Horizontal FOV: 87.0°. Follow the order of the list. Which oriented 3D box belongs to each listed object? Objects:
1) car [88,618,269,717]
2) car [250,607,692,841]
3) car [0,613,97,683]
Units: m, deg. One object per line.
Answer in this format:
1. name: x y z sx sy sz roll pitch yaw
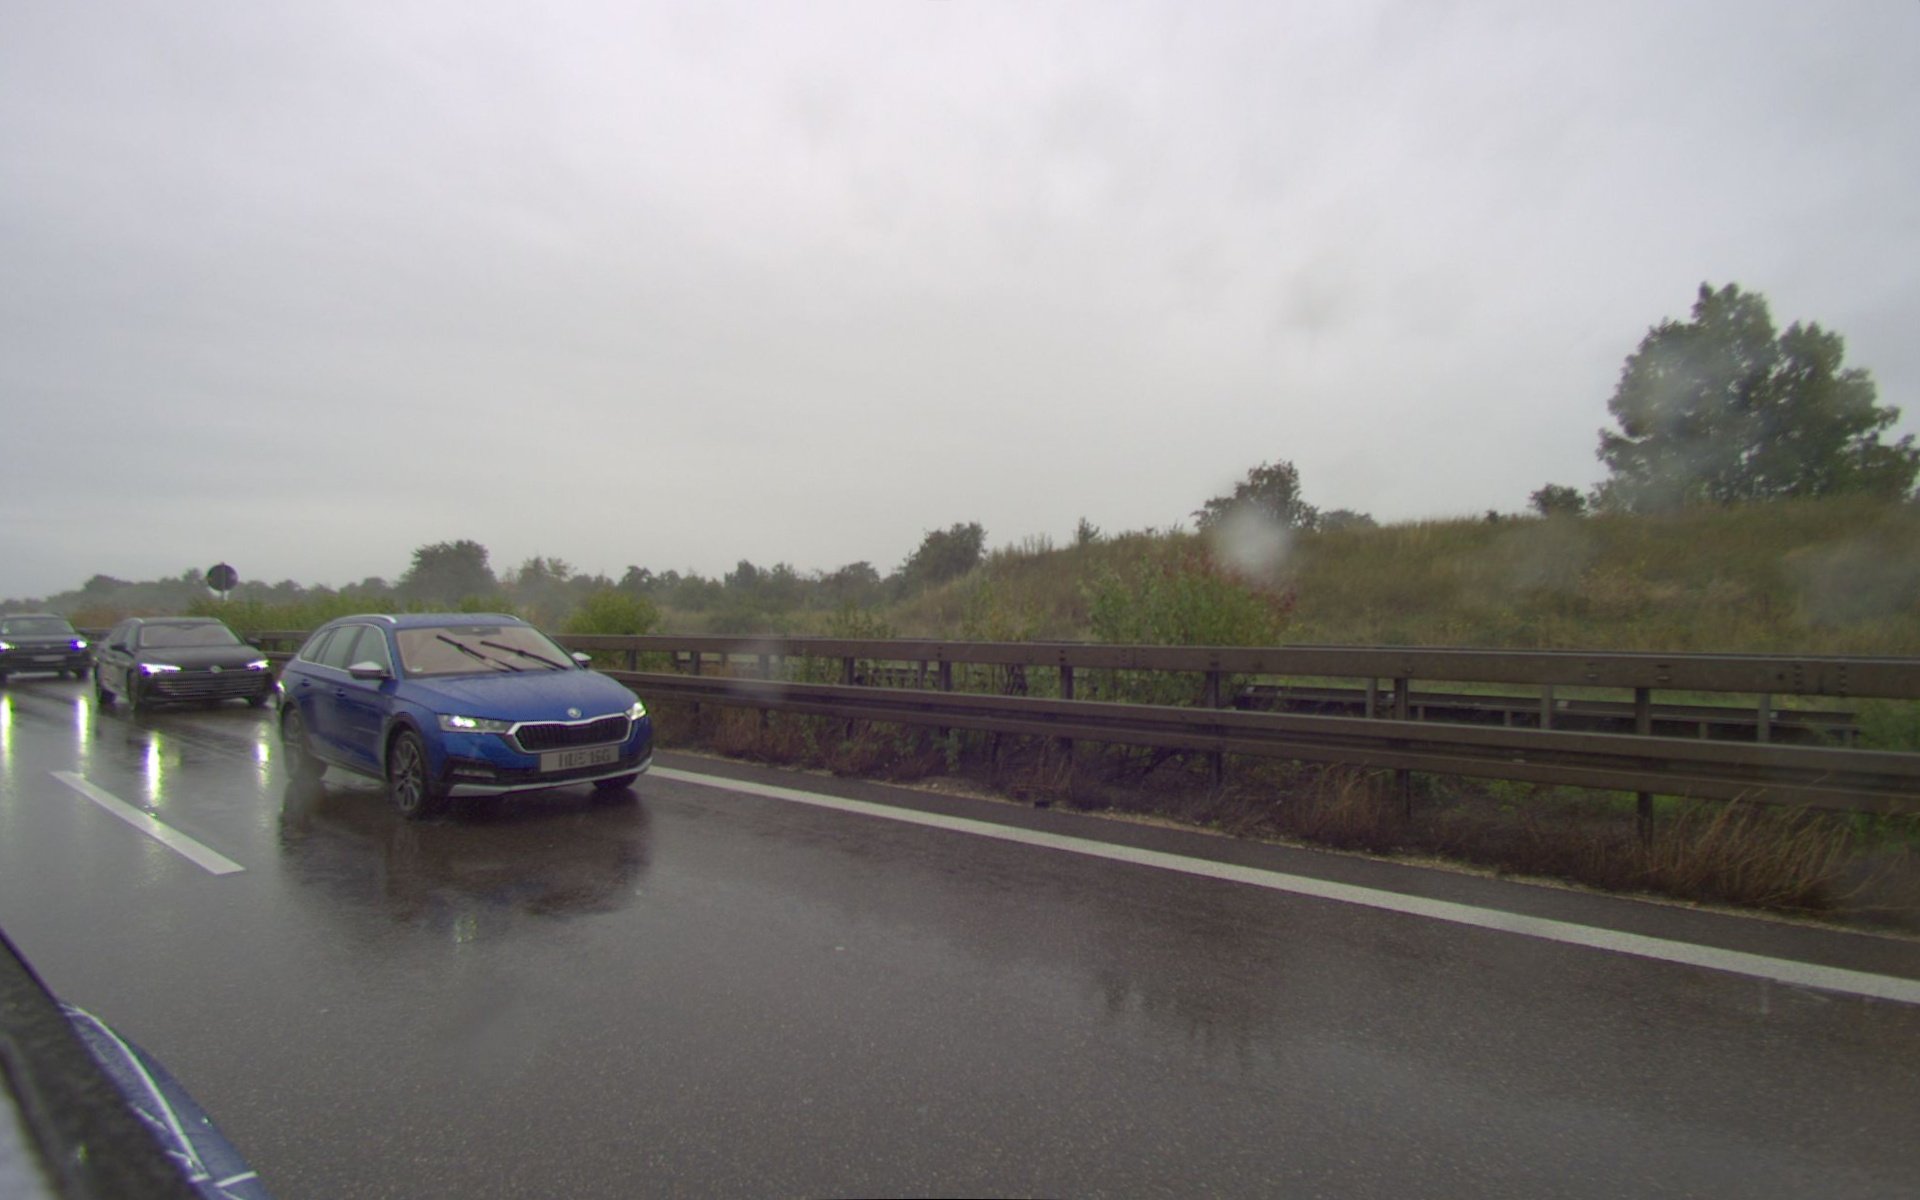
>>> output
1. car: -13.266 1.047 17.076 4.368 1.447 1.592 -1 -1 41
2. car: -4.356 0.841 8.643 4.509 1.487 1.768 -1 -1 41
3. car: -23.781 1.173 25.967 4.266 1.644 1.865 -1 -1 40
